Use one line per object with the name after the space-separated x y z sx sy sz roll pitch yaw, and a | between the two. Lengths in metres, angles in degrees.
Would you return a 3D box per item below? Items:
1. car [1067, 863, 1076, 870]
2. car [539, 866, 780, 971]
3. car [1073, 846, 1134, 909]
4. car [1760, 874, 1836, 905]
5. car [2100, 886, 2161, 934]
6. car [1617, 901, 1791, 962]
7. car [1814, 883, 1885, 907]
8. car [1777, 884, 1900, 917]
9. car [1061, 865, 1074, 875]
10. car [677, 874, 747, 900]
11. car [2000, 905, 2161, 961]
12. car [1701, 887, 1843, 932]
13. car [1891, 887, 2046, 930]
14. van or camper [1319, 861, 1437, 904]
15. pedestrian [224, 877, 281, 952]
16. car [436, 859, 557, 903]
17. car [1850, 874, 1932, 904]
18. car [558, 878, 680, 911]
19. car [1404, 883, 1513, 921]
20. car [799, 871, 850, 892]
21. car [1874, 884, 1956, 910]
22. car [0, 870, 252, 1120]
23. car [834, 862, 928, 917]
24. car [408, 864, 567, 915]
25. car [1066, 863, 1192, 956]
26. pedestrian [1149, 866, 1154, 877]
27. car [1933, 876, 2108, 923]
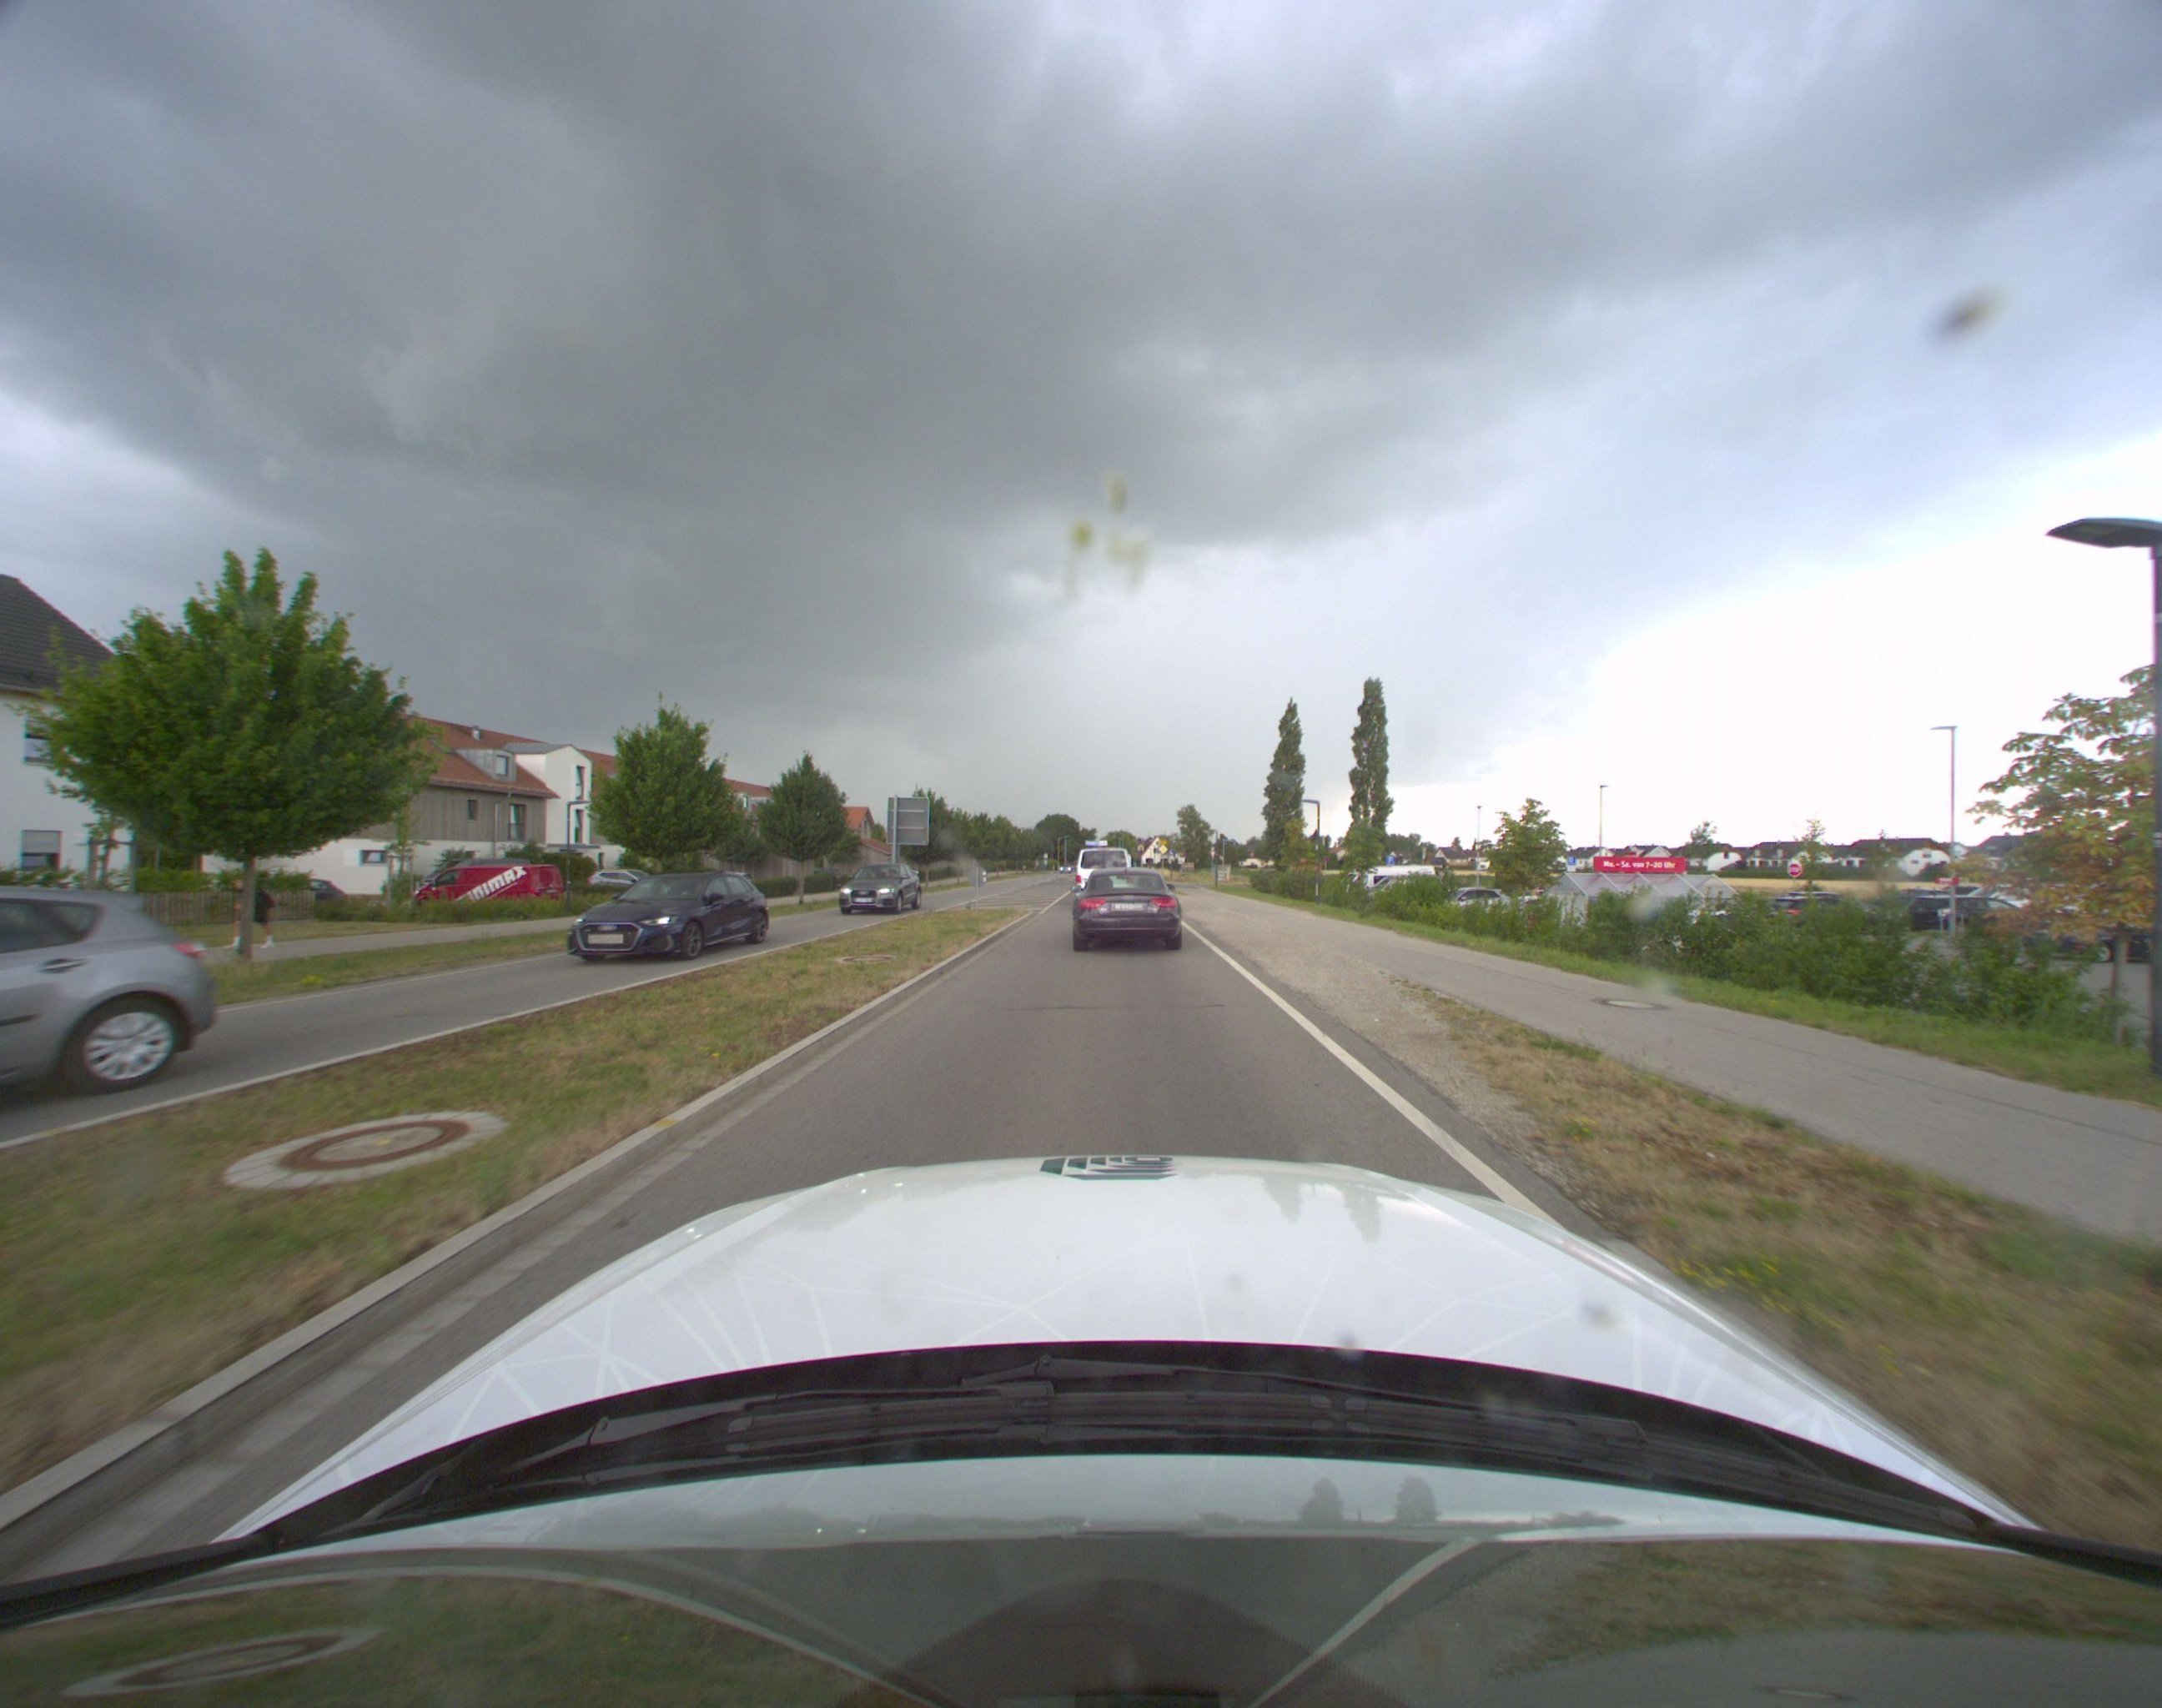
-2.068 2.761 177.363 1.647 1.429 3.603 -1 0 1 | car
-7.057 0.989 14.259 1.818 1.488 4.352 -1 0 2 | car
0.712 0.736 27.042 1.820 1.913 3.999 1 0 0 | car
51.392 2.525 58.461 1.986 2.014 4.001 -1 0 2 | car
48.423 2.444 36.120 3.880 1.911 2.038 -1 -1 -1 | car
17.899 2.199 23.526 3.744 1.538 1.675 -1 -1 -1 | car
54.788 2.928 58.116 1.738 1.508 3.580 -1 0 2 | car
36.184 2.205 38.987 4.164 1.433 1.901 -1 -1 -1 | car
-2.153 2.528 129.977 1.763 1.443 4.001 -1 0 2 | car
-22.275 1.982 49.200 3.501 1.489 1.564 -1 -1 1 | car
30.437 2.339 24.230 3.973 1.442 2.000 1 0 0 | car
28.001 2.237 33.131 3.967 1.618 2.003 -1 -1 6 | car
36.319 2.213 33.433 3.967 1.618 2.003 -1 -1 6 | car
18.314 1.741 50.354 6.447 2.464 2.280 -1 -1 -1 | van or camper
-17.630 1.277 17.339 0.544 1.530 0.586 2 -1 2 | pedestrian
-29.605 1.310 41.501 1.984 2.013 5.207 3 0 5 | car
58.240 2.477 58.636 1.986 2.014 4.001 -1 0 2 | car
-22.556 1.962 39.895 4.886 1.430 1.907 -1 -1 2 | car
17.609 2.240 38.153 4.133 1.598 2.080 -1 -1 -1 | car
-20.229 2.159 64.241 3.501 1.489 1.564 -1 -1 1 | car
54.392 2.778 53.194 1.738 1.508 3.580 -1 0 2 | car
-7.463 0.872 4.269 1.818 1.488 4.217 -1 0 2 | car
-6.297 1.064 26.130 1.818 1.582 4.217 -1 0 2 | car
-22.761 1.360 31.322 4.879 1.816 1.910 -1 -1 6 | car
0.714 0.883 14.901 1.821 1.388 4.383 -1 0 -3 | car
9.756 2.402 112.270 0.621 1.525 0.680 -1 -1 1 | pedestrian
43.108 2.081 37.490 5.185 2.014 2.005 -1 -1 9 | car
